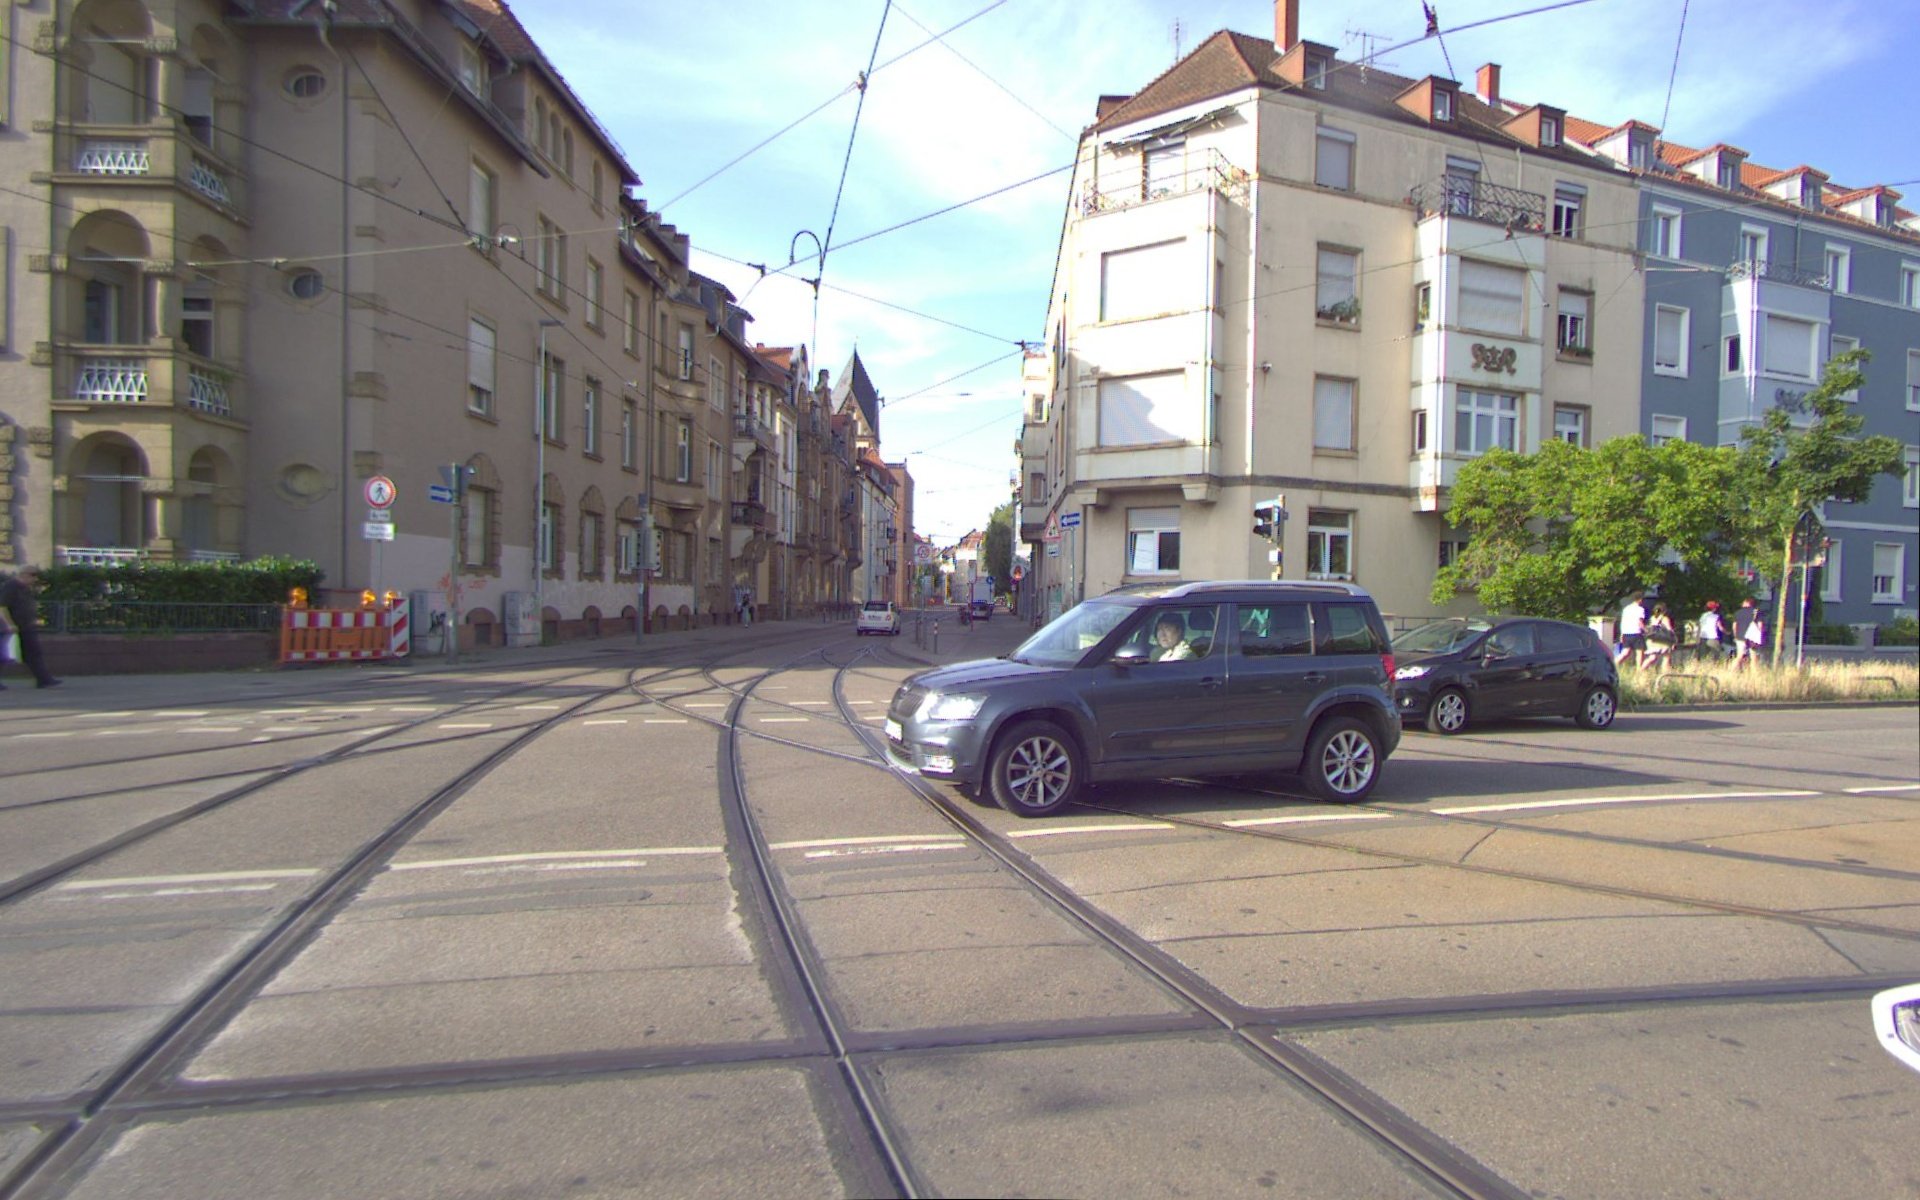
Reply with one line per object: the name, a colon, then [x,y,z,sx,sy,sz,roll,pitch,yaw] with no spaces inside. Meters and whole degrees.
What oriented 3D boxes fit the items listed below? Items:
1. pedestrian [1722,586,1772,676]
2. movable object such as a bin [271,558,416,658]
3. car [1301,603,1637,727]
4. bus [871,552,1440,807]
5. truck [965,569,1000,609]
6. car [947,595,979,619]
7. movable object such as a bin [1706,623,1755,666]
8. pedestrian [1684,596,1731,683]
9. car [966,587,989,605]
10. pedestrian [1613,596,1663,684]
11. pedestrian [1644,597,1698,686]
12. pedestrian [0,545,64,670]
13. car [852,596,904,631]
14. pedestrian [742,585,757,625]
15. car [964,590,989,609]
pedestrian: [17.025,0.661,21.729,0.617,1.906,0.583,1,1,-20]
movable object such as a bin: [-11.196,0.144,18.357,0.260,1.732,2.376,1,0,33]
car: [6.672,0.816,13.207,3.939,1.439,1.687,2,0,-20]
bus: [1.497,0.543,8.048,4.093,1.658,1.843,1,0,-18]
truck: [2.335,-1.058,100.246,3.192,3.778,9.926,1,0,2]
car: [0.231,0.415,63.508,1.764,1.476,4.001,1,0,3]
movable object such as a bin: [17.432,1.004,22.729,0.652,0.959,0.583,1,0,-16]
pedestrian: [16.742,0.872,22.497,0.617,1.906,0.583,1,1,-22]
car: [1.463,-0.333,83.337,1.764,1.476,4.001,1,0,2]
pedestrian: [15.057,0.875,22.313,0.617,1.906,0.657,1,1,-22]
pedestrian: [15.346,0.884,21.692,0.639,1.873,0.673,1,1,-18]
pedestrian: [-12.935,0.101,13.823,0.592,1.673,0.681,1,1,1]
car: [-3.637,0.569,45.002,1.764,1.476,4.001,1,0,3]
pedestrian: [-9.816,0.231,46.826,0.535,1.847,0.477,1,0,2]
car: [1.331,-0.040,77.951,1.764,1.476,4.001,1,0,3]
